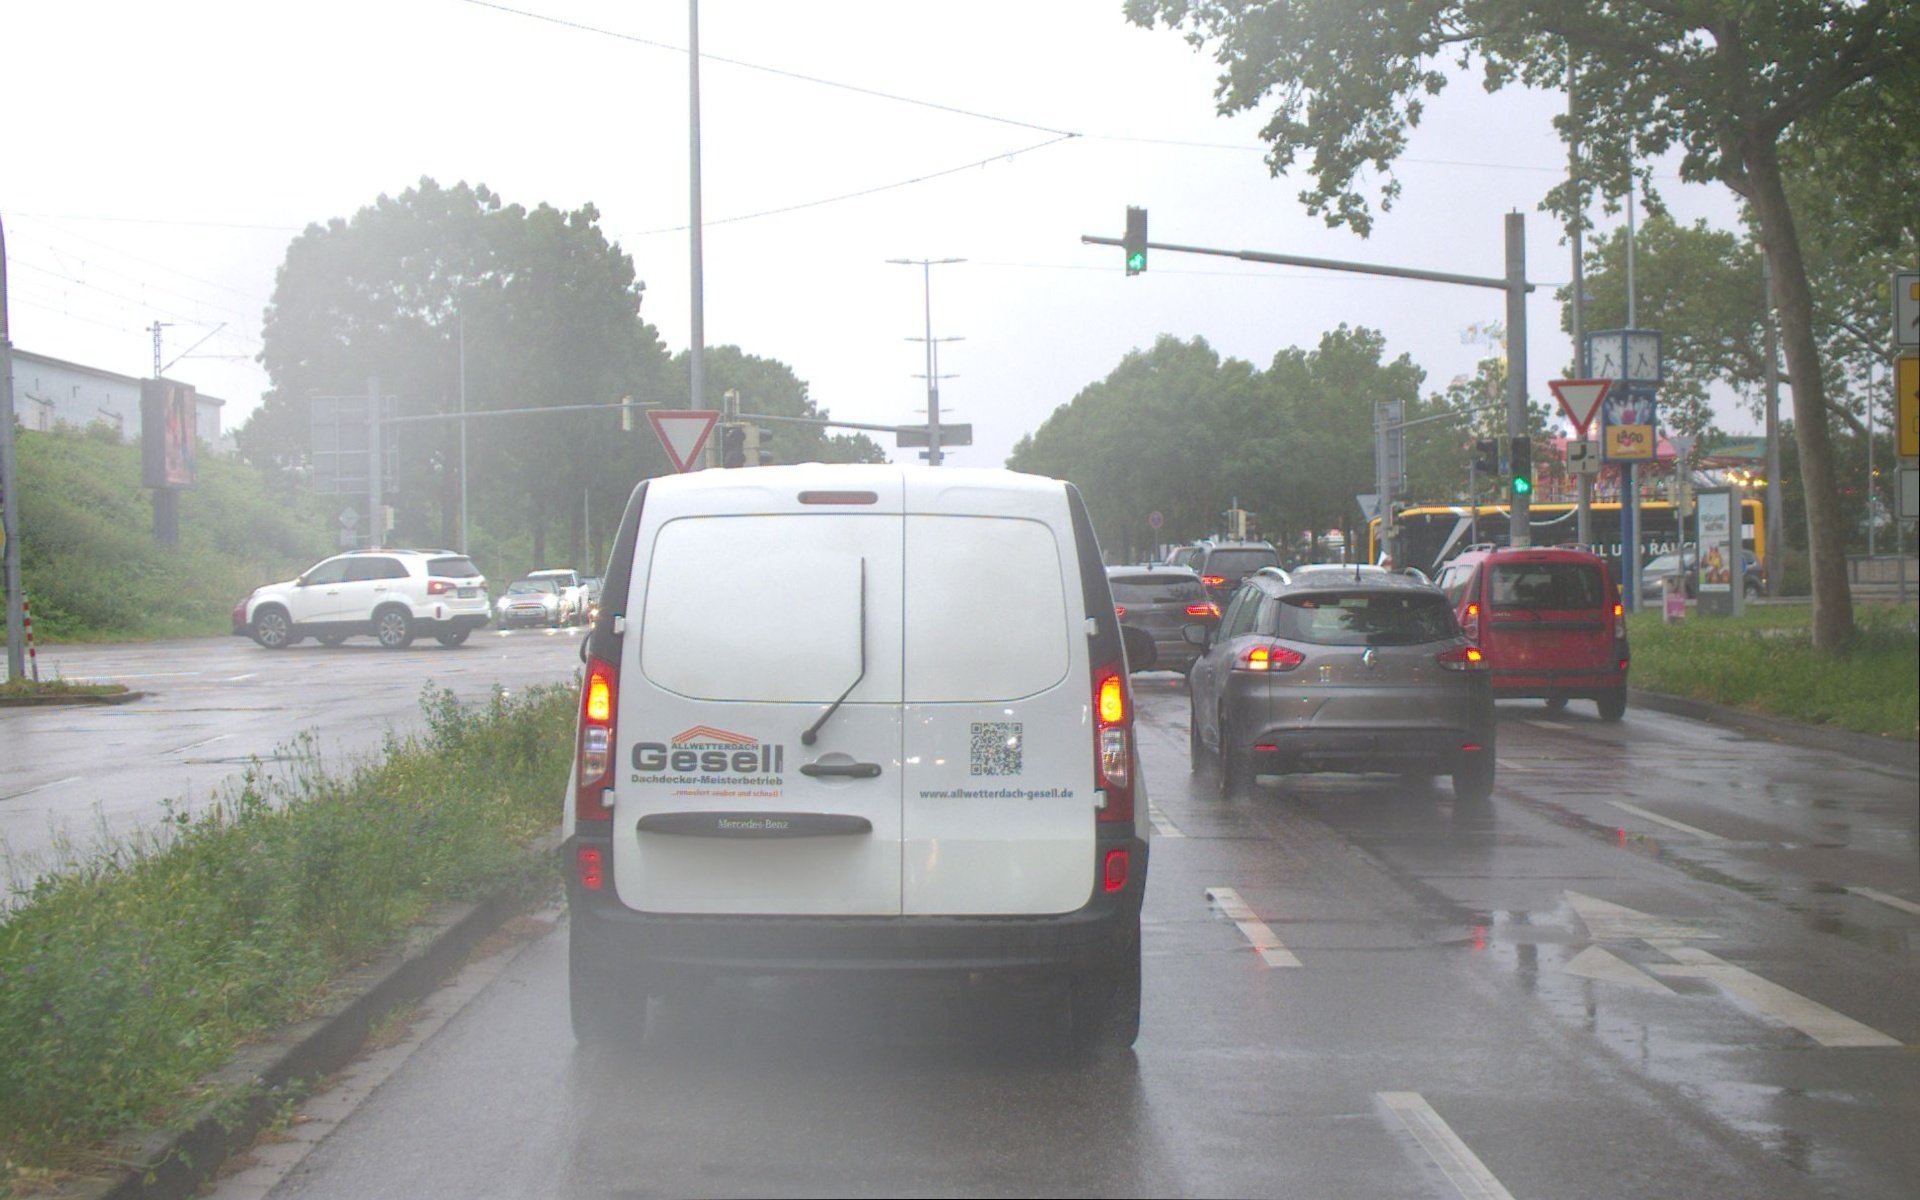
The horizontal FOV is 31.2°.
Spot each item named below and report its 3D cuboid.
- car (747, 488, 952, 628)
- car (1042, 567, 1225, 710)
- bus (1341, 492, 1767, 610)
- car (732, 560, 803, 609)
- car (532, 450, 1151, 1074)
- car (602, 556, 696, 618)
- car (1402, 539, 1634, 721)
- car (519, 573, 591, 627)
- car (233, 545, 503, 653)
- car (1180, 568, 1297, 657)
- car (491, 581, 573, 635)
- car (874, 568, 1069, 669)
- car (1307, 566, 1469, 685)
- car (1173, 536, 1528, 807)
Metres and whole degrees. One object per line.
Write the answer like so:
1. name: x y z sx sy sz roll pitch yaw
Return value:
1. car: -1.717 -0.649 51.583 1.993 1.949 4.822 -2 2 -15
2. car: 2.101 0.435 42.661 1.835 1.650 4.001 1 1 -3
3. bus: 17.854 -1.481 103.912 12.249 3.257 3.275 -1 1 -1
4. car: -5.682 -0.462 101.079 1.826 1.353 4.001 -1 1 -7
5. car: -0.360 0.439 11.827 1.756 1.771 4.000 0 1 -1
6. car: -8.684 -0.380 96.283 2.022 1.651 4.061 -1 1 3
7. car: 5.362 0.253 33.396 1.632 1.650 3.485 1 1 -1
8. car: -11.830 -0.014 100.697 1.827 1.477 4.001 -1 1 -3
9. car: -10.596 -0.011 61.466 4.433 1.839 1.997 -1 1 28
10. car: 5.207 0.215 64.694 1.993 1.568 4.000 -1 1 2
11. car: -11.704 0.213 94.260 1.892 1.344 4.001 -1 1 -3
12. car: 0.158 0.298 58.714 1.993 1.613 3.945 -1 1 -21
13. car: 6.099 0.335 49.365 1.842 1.612 4.000 1 0 1
14. car: 2.482 0.414 22.760 1.842 1.612 4.000 1 0 -1
